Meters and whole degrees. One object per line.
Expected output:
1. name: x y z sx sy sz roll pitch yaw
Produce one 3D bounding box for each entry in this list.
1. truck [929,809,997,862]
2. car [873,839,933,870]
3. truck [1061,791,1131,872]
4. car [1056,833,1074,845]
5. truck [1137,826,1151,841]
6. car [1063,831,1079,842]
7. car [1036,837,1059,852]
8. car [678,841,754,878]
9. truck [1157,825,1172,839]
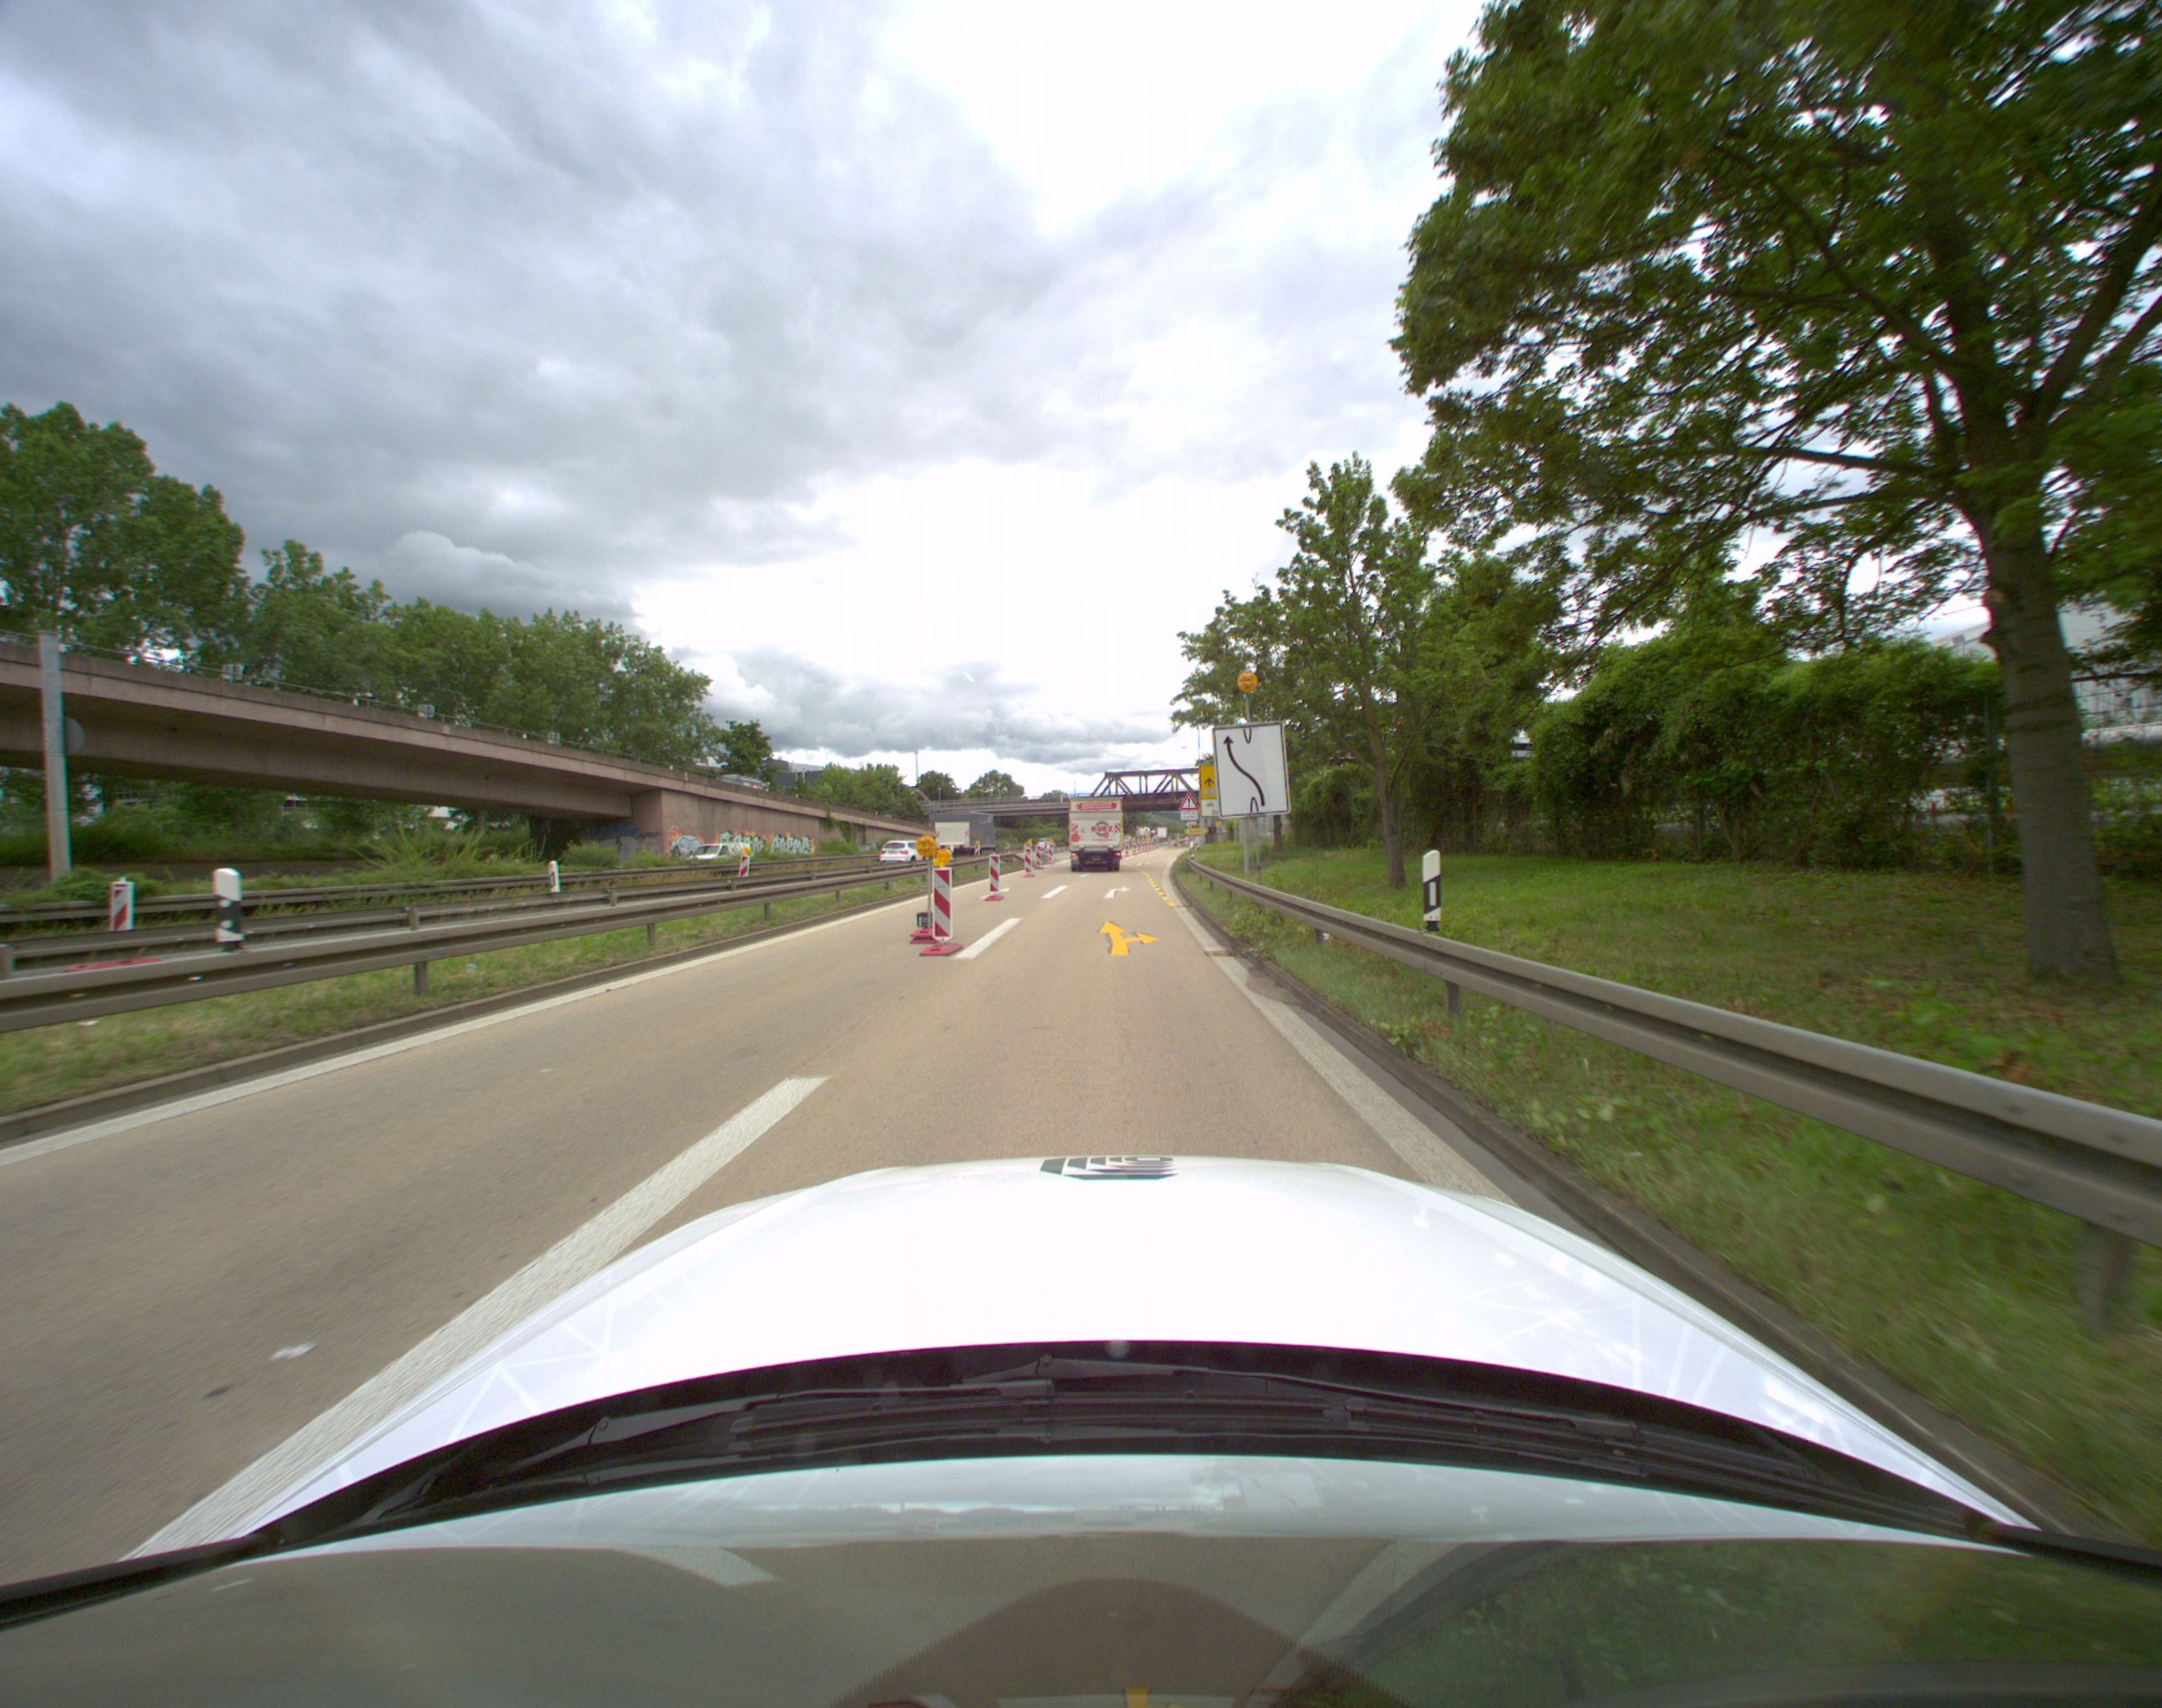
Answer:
1. truck: -8.612 -1.340 60.438 3.035 3.656 7.409 -1 0 6
2. car: -10.363 0.003 47.800 1.981 1.712 4.113 -1 0 10
3. truck: 0.931 -1.091 41.758 3.037 3.673 7.938 -1 1 5
4. car: -2.265 -2.148 115.135 1.984 1.618 4.007 -1 0 6
5. truck: 16.176 -5.245 209.328 3.270 3.852 7.677 -1 0 6
6. car: -1.473 -2.628 123.960 1.984 1.618 4.007 -1 0 6
7. car: -3.704 -1.028 90.253 1.984 1.618 4.007 -1 0 6
8. car: -21.655 0.292 48.531 1.983 2.013 4.717 -1 0 6
9. truck: 23.260 -6.152 226.574 3.890 3.548 8.151 -1 0 4
